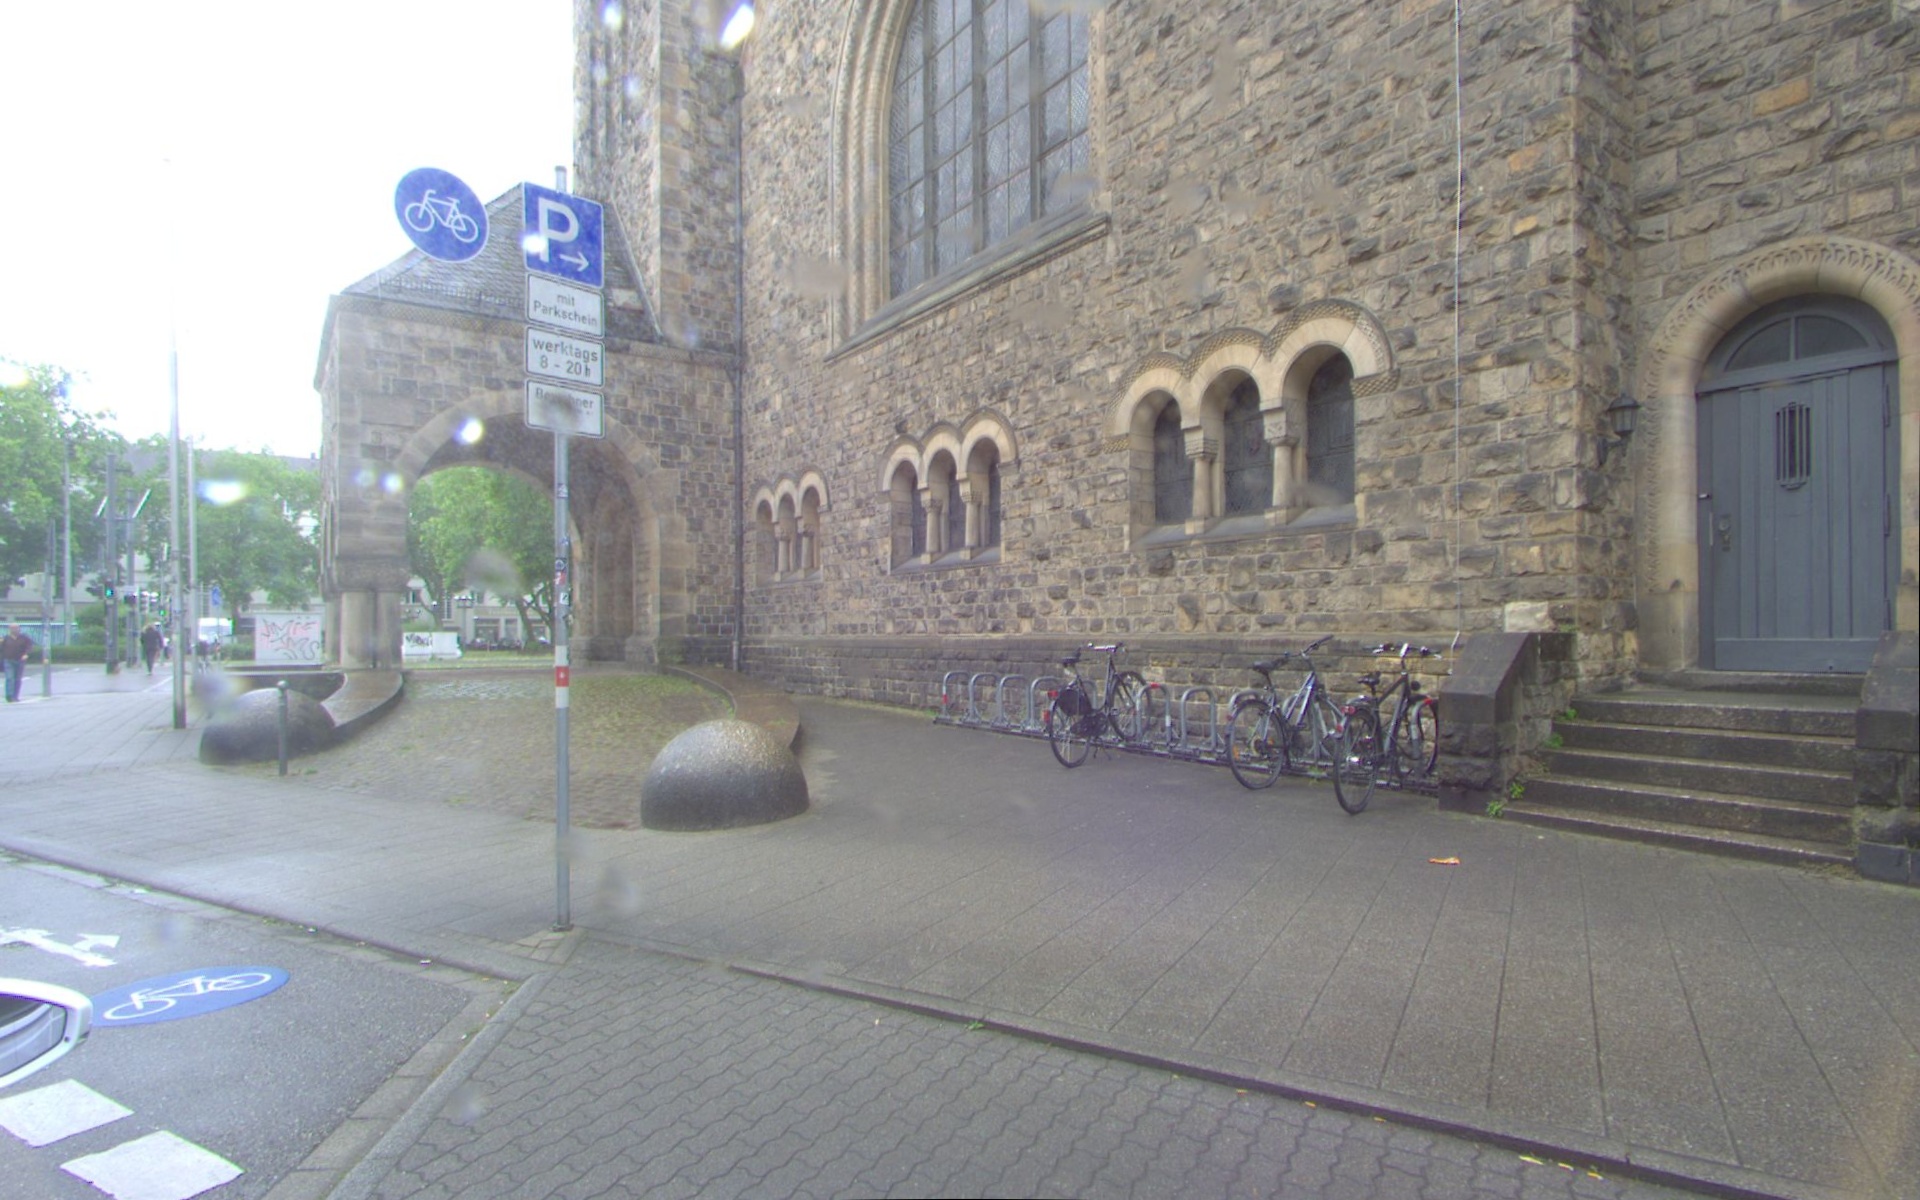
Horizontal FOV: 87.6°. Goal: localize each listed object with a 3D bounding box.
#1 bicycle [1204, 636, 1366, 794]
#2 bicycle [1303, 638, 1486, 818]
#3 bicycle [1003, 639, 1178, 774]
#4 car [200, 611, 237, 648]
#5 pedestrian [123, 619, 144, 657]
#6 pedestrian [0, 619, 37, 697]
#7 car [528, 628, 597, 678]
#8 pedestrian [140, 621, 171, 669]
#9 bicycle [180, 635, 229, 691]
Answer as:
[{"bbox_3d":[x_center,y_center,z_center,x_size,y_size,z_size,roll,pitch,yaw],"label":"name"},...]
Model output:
[{"bbox_3d":[2.764,0.903,8.411,1.697,1.126,0.556,-2,0,-45],"label":"bicycle"},{"bbox_3d":[3.215,0.856,7.305,1.971,1.068,0.507,-2,0,-45],"label":"bicycle"},{"bbox_3d":[1.331,0.987,9.890,0.684,1.119,1.973,-1,0,43],"label":"bicycle"},{"bbox_3d":[-53.664,2.159,72.502,1.888,2.588,4.757,0,-1,-34],"label":"car"},{"bbox_3d":[-44.470,2.022,53.908,0.797,2.040,0.586,0,-1,-31],"label":"pedestrian"},{"bbox_3d":[-22.226,1.341,23.534,0.780,1.782,0.936,0,0,-43],"label":"pedestrian"},{"bbox_3d":[-12.657,1.637,31.820,1.389,1.498,3.200,1,-2,-34],"label":"car"},{"bbox_3d":[-28.142,1.566,35.053,0.775,1.667,0.651,0,0,-34],"label":"pedestrian"},{"bbox_3d":[-16.591,1.367,21.975,2.049,1.169,0.327,-1,-1,38],"label":"bicycle"}]
